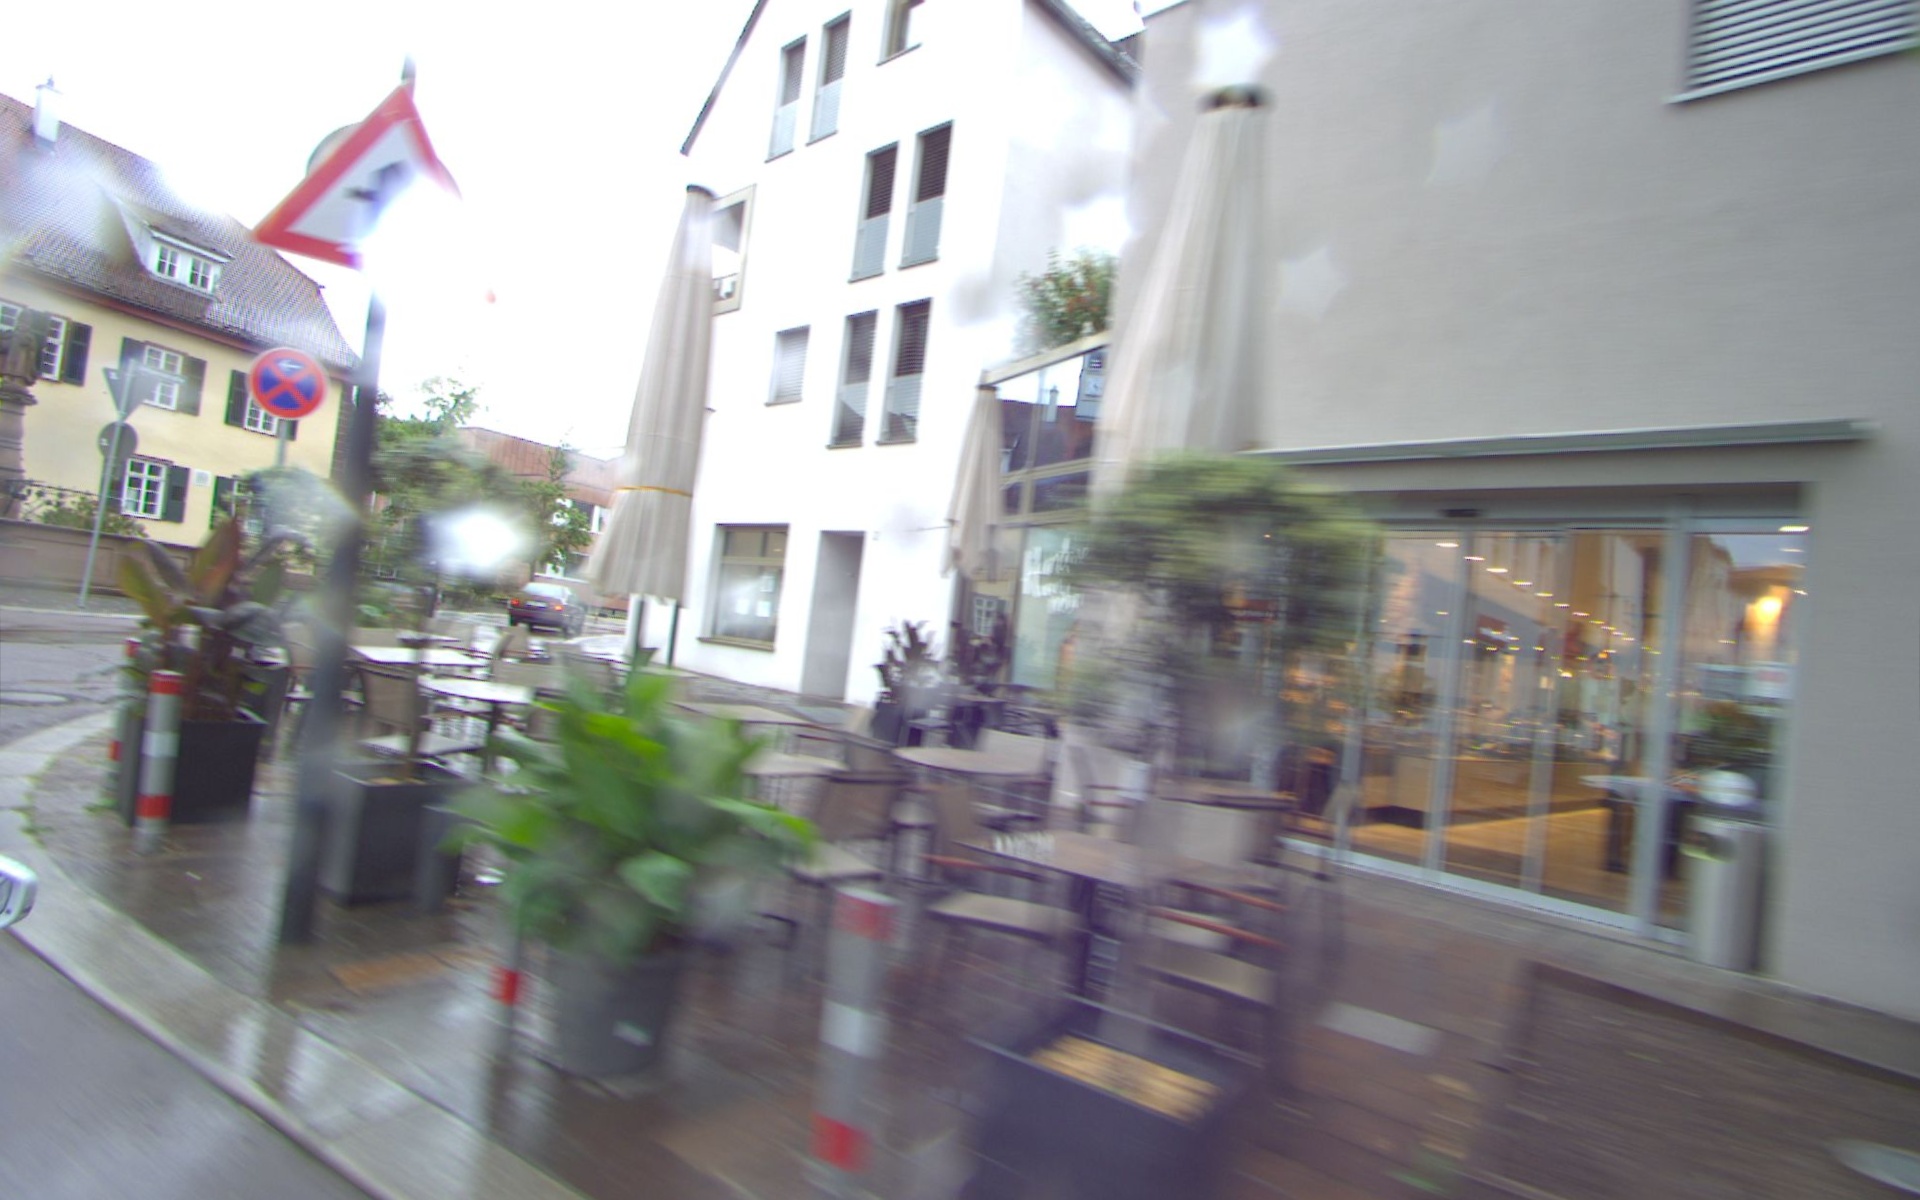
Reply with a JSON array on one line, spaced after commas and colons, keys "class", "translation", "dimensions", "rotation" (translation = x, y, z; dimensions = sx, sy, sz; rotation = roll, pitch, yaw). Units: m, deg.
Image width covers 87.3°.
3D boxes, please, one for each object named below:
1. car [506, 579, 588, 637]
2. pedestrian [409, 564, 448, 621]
[{"class": "car", "translation": [-12.109, 0.232, 29.684], "dimensions": [1.647, 1.379, 3.597], "rotation": [8, -2, -15]}, {"class": "pedestrian", "translation": [-18.299, -0.263, 34.655], "dimensions": [0.778, 1.843, 0.686], "rotation": [7, -1, -1]}]
